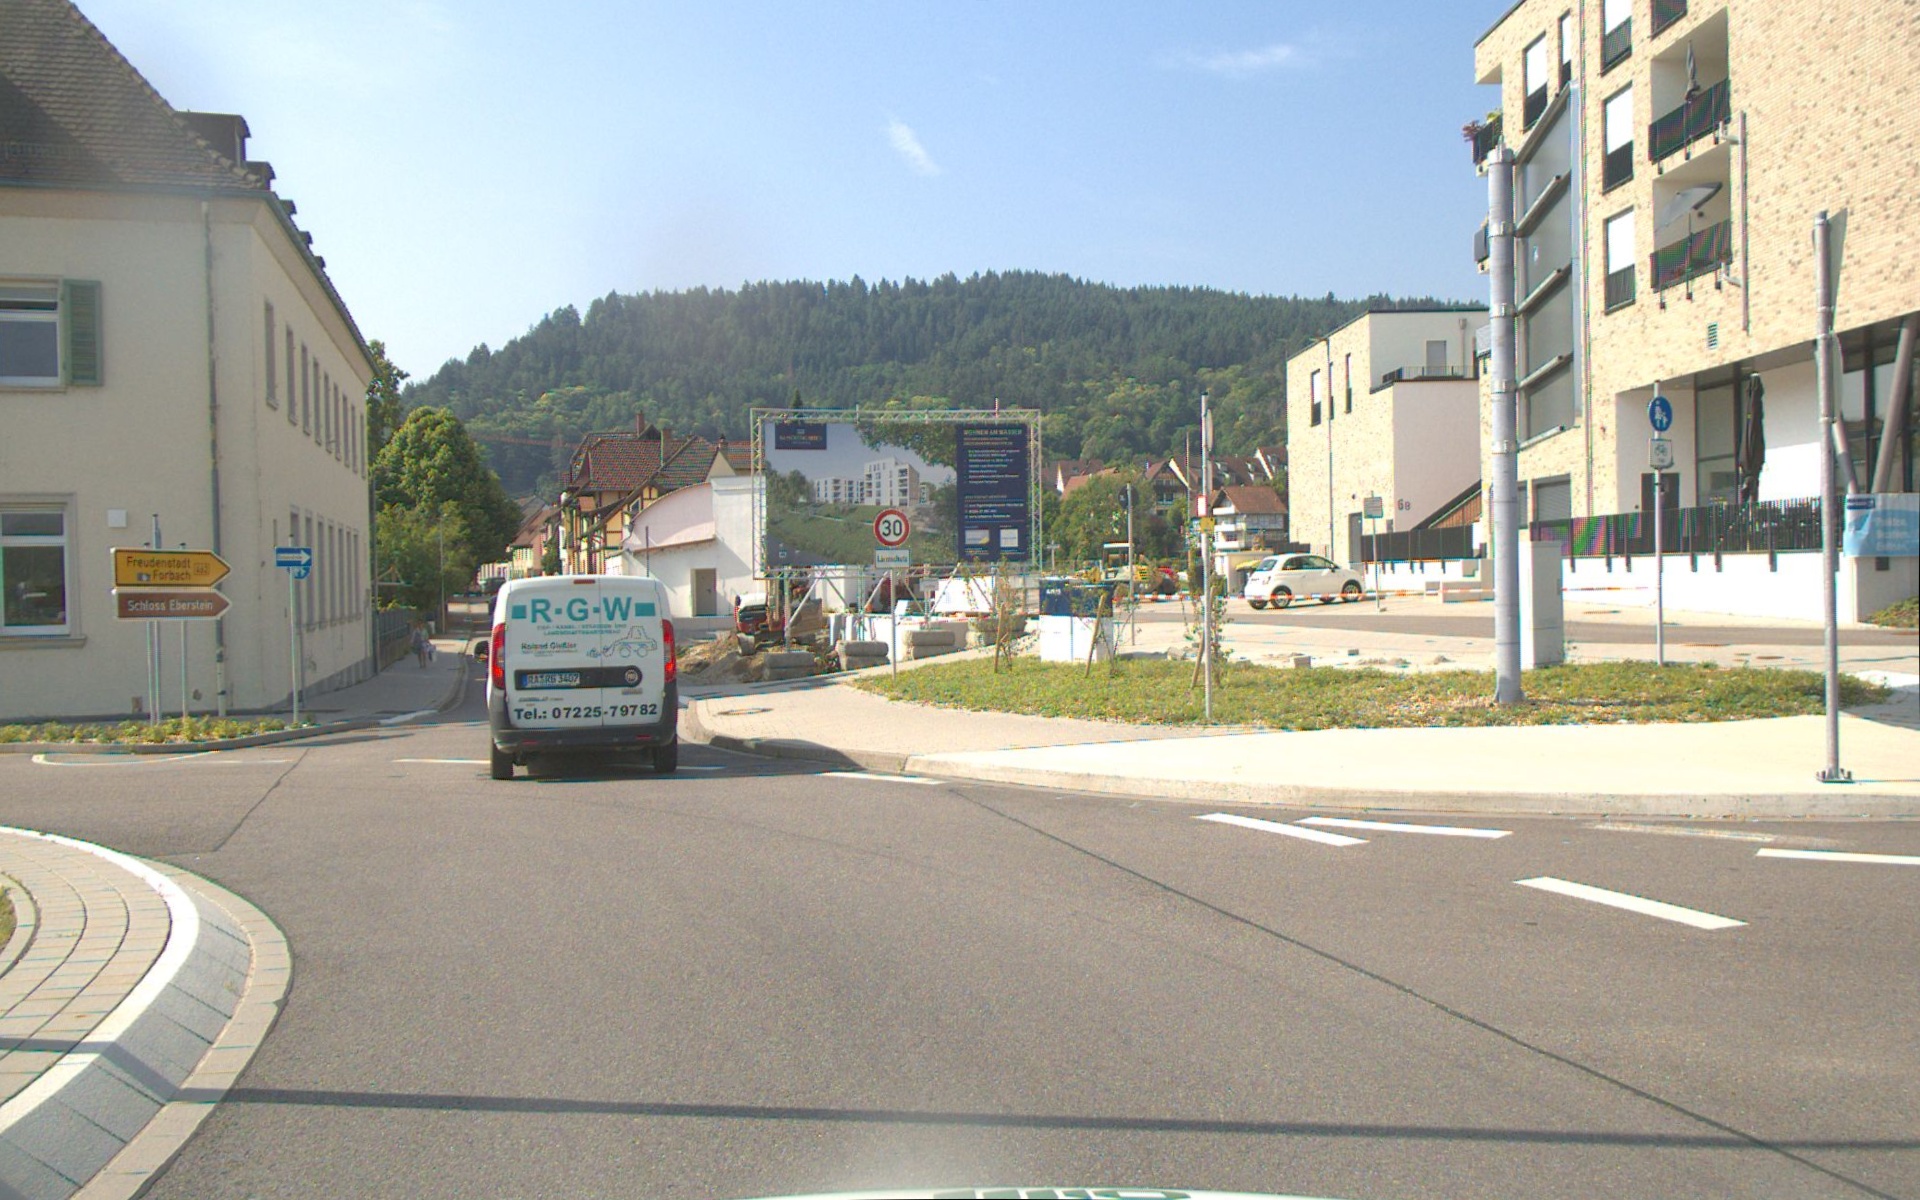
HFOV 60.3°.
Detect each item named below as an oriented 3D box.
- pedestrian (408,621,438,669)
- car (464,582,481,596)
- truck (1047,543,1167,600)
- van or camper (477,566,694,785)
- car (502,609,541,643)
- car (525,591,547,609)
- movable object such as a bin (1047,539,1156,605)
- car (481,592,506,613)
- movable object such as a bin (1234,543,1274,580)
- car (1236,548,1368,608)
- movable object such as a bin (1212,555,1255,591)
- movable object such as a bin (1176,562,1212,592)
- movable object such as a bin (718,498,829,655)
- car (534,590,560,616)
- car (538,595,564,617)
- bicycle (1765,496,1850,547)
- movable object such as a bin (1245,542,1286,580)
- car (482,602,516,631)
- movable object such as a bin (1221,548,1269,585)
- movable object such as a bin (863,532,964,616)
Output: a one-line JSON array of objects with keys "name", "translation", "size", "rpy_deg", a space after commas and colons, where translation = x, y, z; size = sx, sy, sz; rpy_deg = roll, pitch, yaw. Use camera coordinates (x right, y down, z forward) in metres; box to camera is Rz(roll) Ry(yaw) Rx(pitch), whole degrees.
[{"name": "pedestrian", "translation": [-18.580, 1.550, 57.249], "size": [0.942, 1.659, 0.754], "rpy_deg": [-1, 0, -17]}, {"name": "car", "translation": [-61.651, -1.419, 209.198], "size": [1.784, 1.624, 3.903], "rpy_deg": [1, 1, -20]}, {"name": "truck", "translation": [6.762, -1.299, 75.852], "size": [5.201, 2.305, 2.221], "rpy_deg": [-3, 0, 10]}, {"name": "van or camper", "translation": [-3.933, 0.716, 16.868], "size": [1.799, 1.877, 4.168], "rpy_deg": [-2, -1, -17]}, {"name": "car", "translation": [-22.461, 1.308, 84.855], "size": [1.779, 1.624, 3.913], "rpy_deg": [1, 1, -13]}, {"name": "car", "translation": [-38.374, -0.018, 149.811], "size": [1.644, 1.534, 3.980], "rpy_deg": [-2, 1, -18]}, {"name": "movable object such as a bin", "translation": [6.227, -1.228, 72.504], "size": [4.514, 2.614, 1.927], "rpy_deg": [-3, 0, 9]}, {"name": "car", "translation": [-37.558, 0.213, 133.047], "size": [1.782, 1.624, 3.907], "rpy_deg": [1, 1, -18]}, {"name": "movable object such as a bin", "translation": [12.096, -1.576, 68.013], "size": [1.274, 1.489, 1.318], "rpy_deg": [1, 1, -6]}, {"name": "car", "translation": [9.915, -0.633, 47.958], "size": [3.351, 1.521, 1.587], "rpy_deg": [-3, -1, -17]}, {"name": "movable object such as a bin", "translation": [11.708, -1.161, 70.846], "size": [1.549, 1.489, 1.318], "rpy_deg": [1, 1, -6]}, {"name": "movable object such as a bin", "translation": [10.284, -1.010, 72.700], "size": [1.271, 1.290, 1.318], "rpy_deg": [1, 1, -6]}, {"name": "movable object such as a bin", "translation": [-5.236, -0.575, 45.382], "size": [2.255, 3.921, 7.775], "rpy_deg": [1, 0, -12]}, {"name": "car", "translation": [-33.546, 0.197, 134.347], "size": [1.841, 2.049, 3.982], "rpy_deg": [-1, 1, -17]}, {"name": "car", "translation": [-30.875, 0.443, 124.877], "size": [1.781, 1.624, 3.910], "rpy_deg": [1, 1, -16]}, {"name": "bicycle", "translation": [18.988, -1.738, 37.094], "size": [0.677, 1.063, 2.244], "rpy_deg": [1, 1, -2]}, {"name": "movable object such as a bin", "translation": [12.275, -1.545, 66.421], "size": [1.274, 1.489, 1.318], "rpy_deg": [1, 1, -6]}, {"name": "car", "translation": [-27.499, 0.975, 98.754], "size": [1.780, 1.624, 3.912], "rpy_deg": [1, 1, -14]}, {"name": "movable object such as a bin", "translation": [11.979, -1.407, 69.553], "size": [1.660, 1.489, 1.318], "rpy_deg": [1, 1, -6]}, {"name": "movable object such as a bin", "translation": [-2.047, -1.183, 75.549], "size": [2.790, 3.685, 5.738], "rpy_deg": [1, 1, 18]}]
